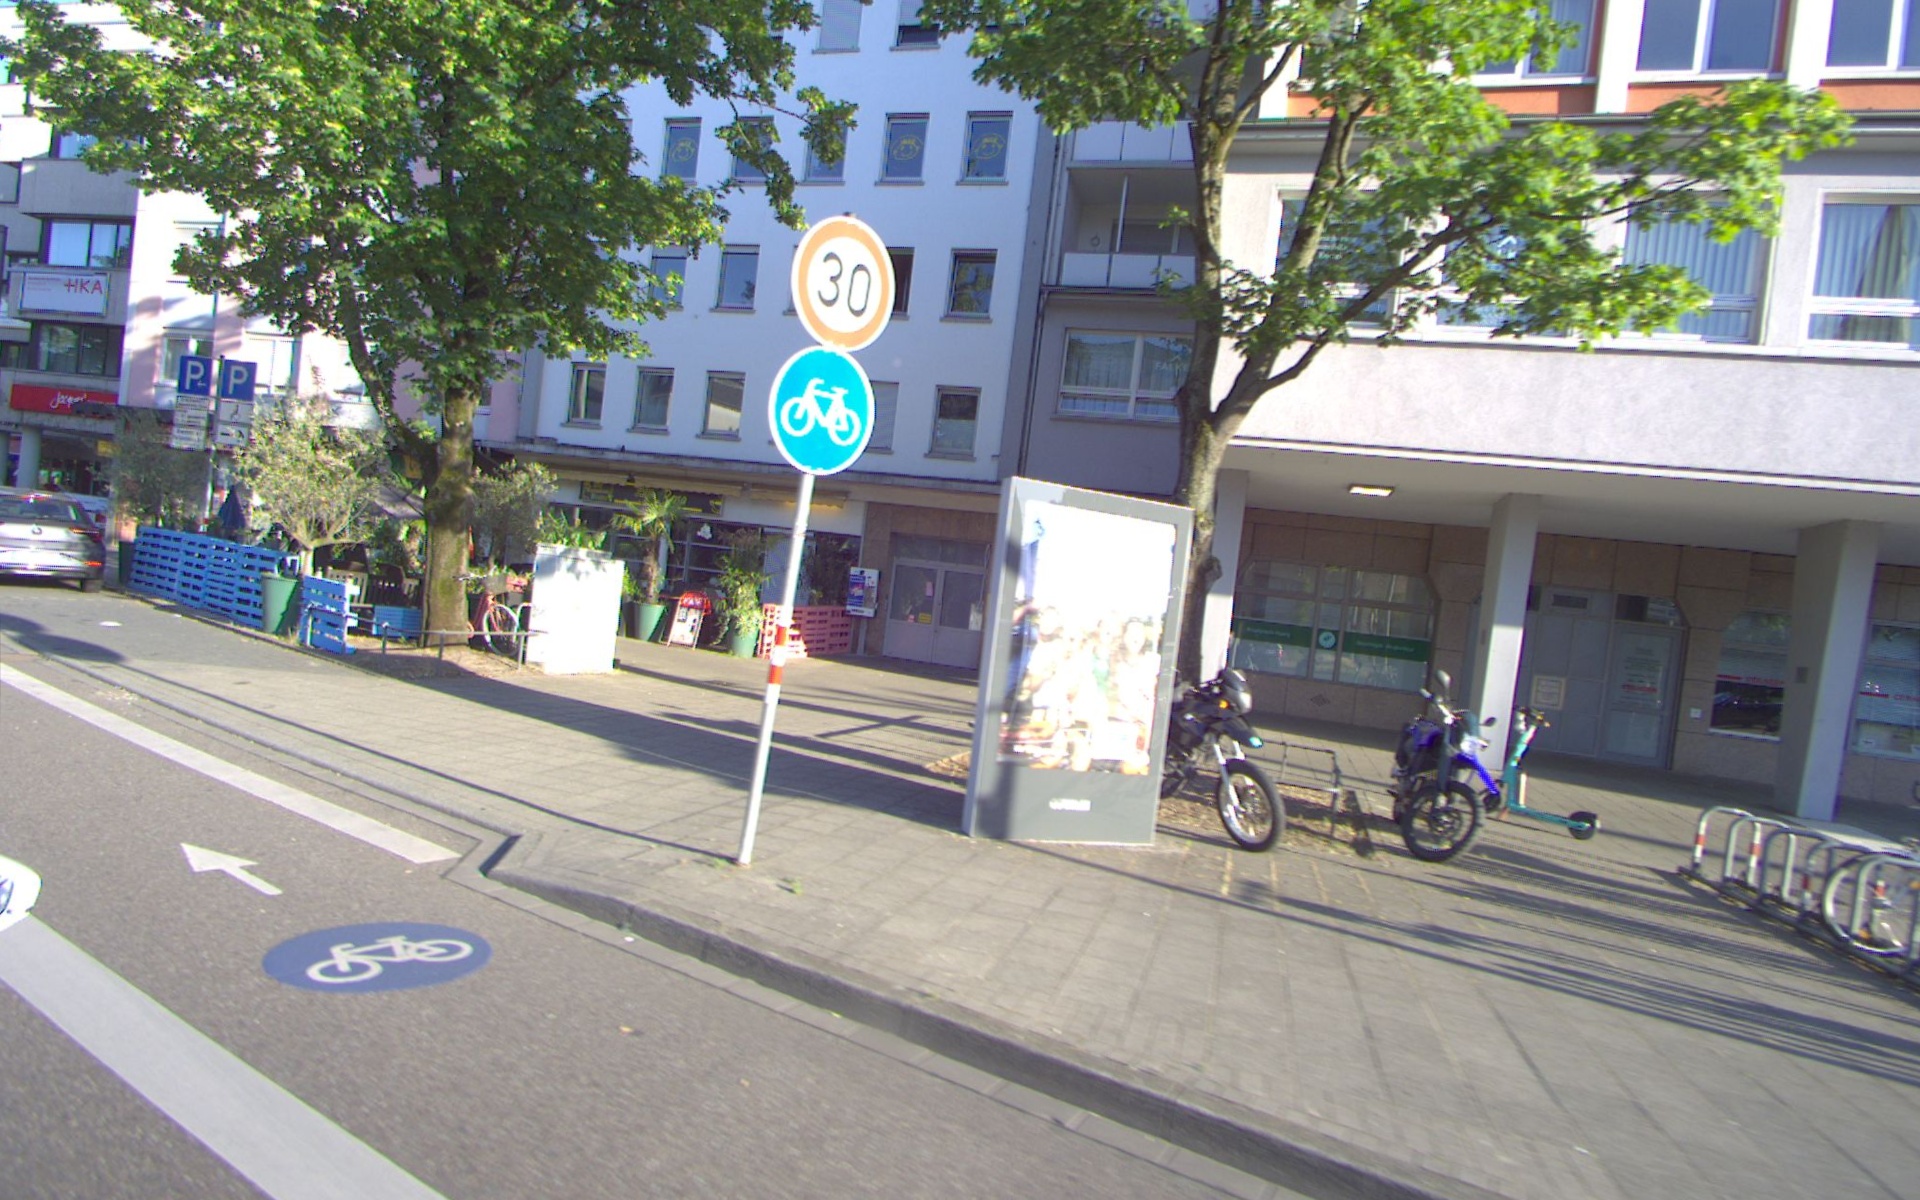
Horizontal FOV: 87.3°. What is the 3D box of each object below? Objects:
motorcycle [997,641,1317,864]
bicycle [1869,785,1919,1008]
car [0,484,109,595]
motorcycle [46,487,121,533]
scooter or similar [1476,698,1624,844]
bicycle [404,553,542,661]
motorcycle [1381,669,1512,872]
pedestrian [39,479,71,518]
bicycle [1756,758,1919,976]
[{"bbox_3d":[1.472,1.083,7.626,2.161,1.258,0.668,7,1,23],"label":"motorcycle"},{"bbox_3d":[6.116,1.746,5.230,1.839,1.141,0.647,8,1,18],"label":"bicycle"},{"bbox_3d":[-14.729,-1.034,15.544,3.842,1.492,1.725,7,3,39],"label":"car"},{"bbox_3d":[-29.708,-3.032,34.110,0.573,1.349,1.784,7,2,28],"label":"motorcycle"},{"bbox_3d":[6.129,1.746,10.478,1.164,1.270,0.415,7,1,36],"label":"scooter or similar"},{"bbox_3d":[-6.404,0.090,13.218,1.722,1.172,0.421,8,1,18],"label":"bicycle"},{"bbox_3d":[4.133,1.358,8.649,0.747,1.423,2.049,7,0,24],"label":"motorcycle"},{"bbox_3d":[-43.168,-4.847,47.993,0.632,1.695,0.987,8,2,41],"label":"pedestrian"},{"bbox_3d":[6.492,1.803,6.349,2.084,1.172,0.647,8,1,18],"label":"bicycle"}]
